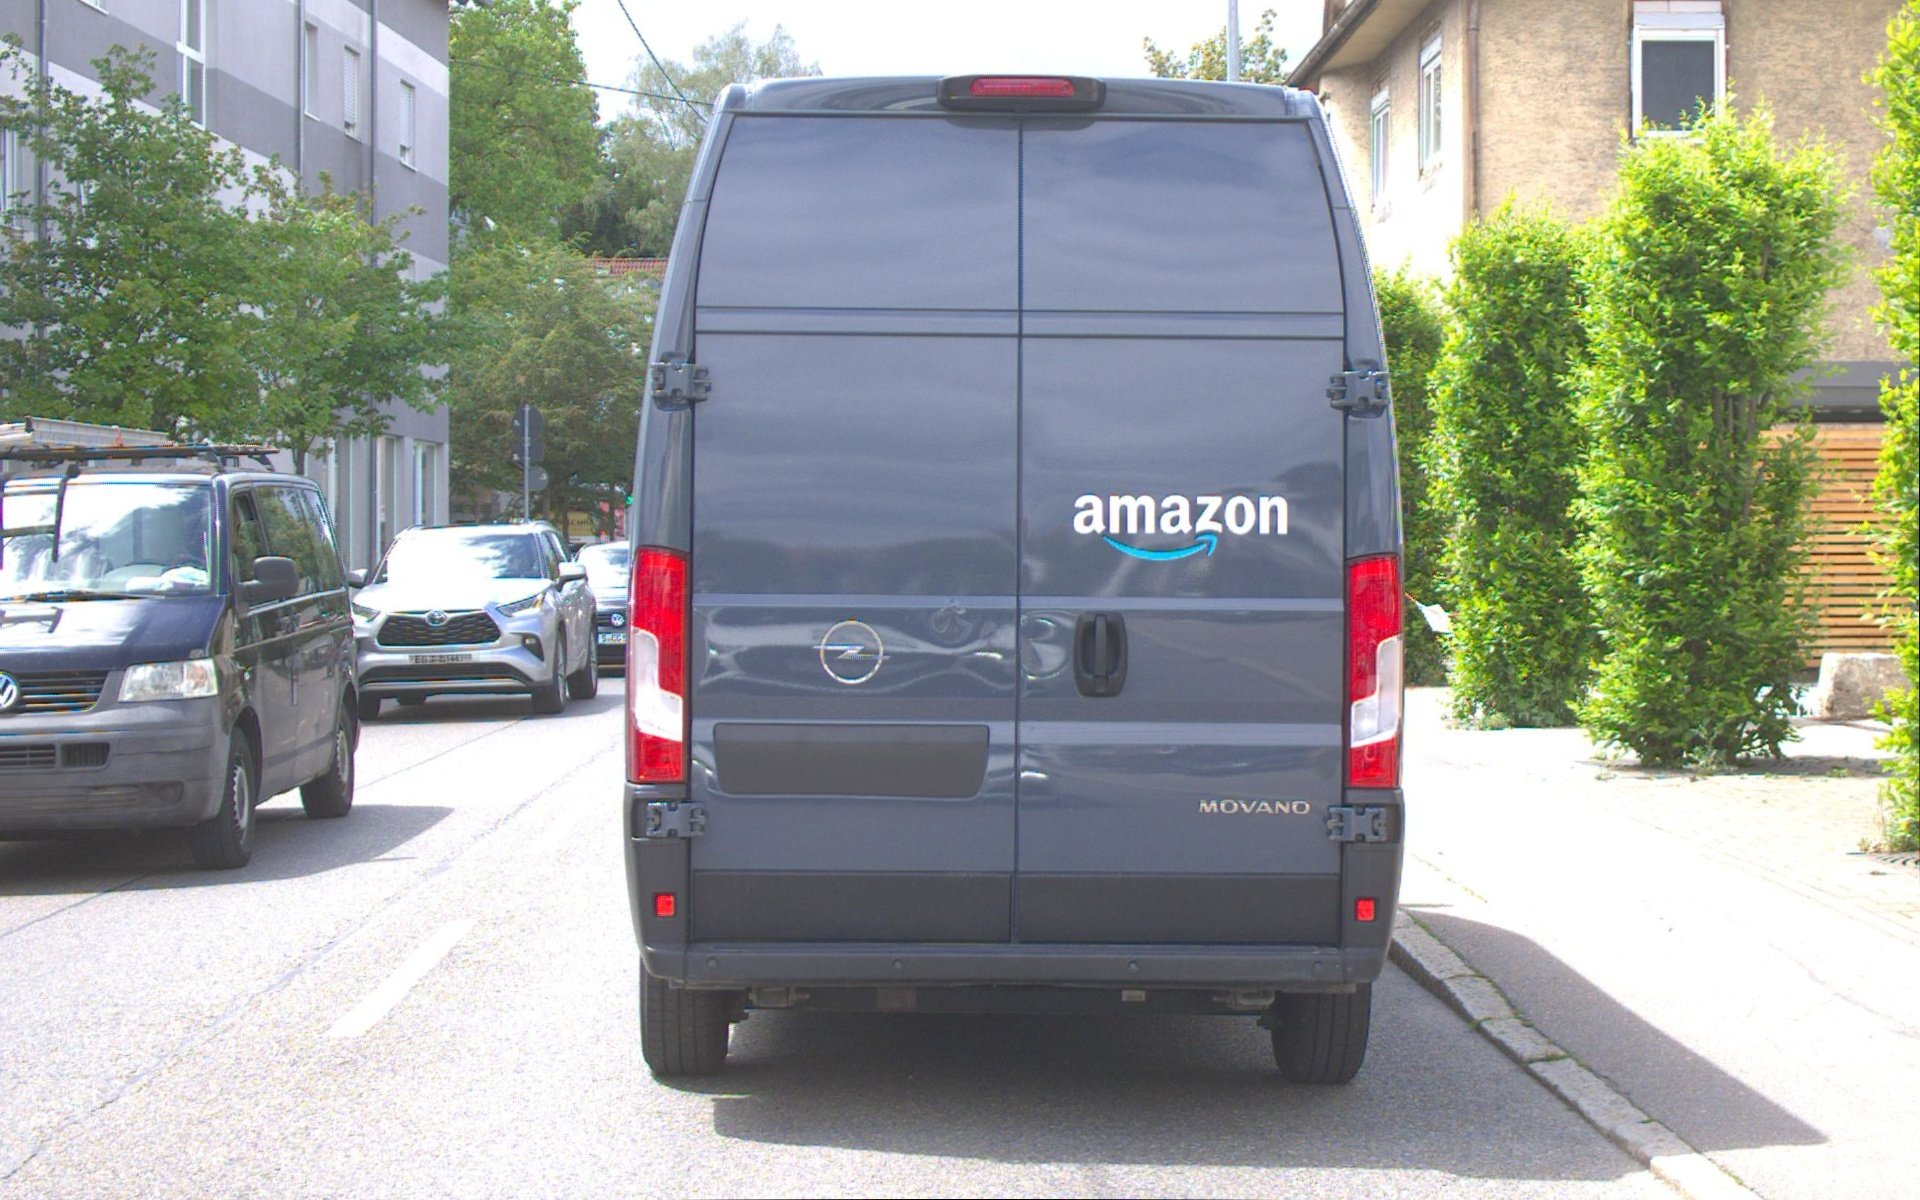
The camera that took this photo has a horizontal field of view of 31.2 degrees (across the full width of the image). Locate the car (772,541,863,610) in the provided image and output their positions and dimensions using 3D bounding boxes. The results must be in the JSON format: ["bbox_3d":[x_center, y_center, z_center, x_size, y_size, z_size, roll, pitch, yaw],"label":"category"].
[{"bbox_3d":[-3.415,-0.610,82.748,2.105,1.590,4.650,0,1,-2],"label":"car"}]

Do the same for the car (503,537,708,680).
[{"bbox_3d":[-4.151,0.053,40.926,2.105,1.590,4.650,0,1,-2],"label":"car"}]

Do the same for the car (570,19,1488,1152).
[{"bbox_3d":[0.144,-0.081,11.270,2.252,2.786,5.569,0,1,-1],"label":"car"}]

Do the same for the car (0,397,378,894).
[{"bbox_3d":[-4.344,0.178,17.251,2.105,2.114,4.766,-2,1,-2],"label":"car"}]

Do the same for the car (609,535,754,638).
[{"bbox_3d":[-4.446,-0.249,55.469,2.105,1.590,4.650,0,1,-2],"label":"car"}]

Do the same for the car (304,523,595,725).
[{"bbox_3d":[-4.593,0.166,31.618,2.105,1.704,4.766,0,1,-2],"label":"car"}]
